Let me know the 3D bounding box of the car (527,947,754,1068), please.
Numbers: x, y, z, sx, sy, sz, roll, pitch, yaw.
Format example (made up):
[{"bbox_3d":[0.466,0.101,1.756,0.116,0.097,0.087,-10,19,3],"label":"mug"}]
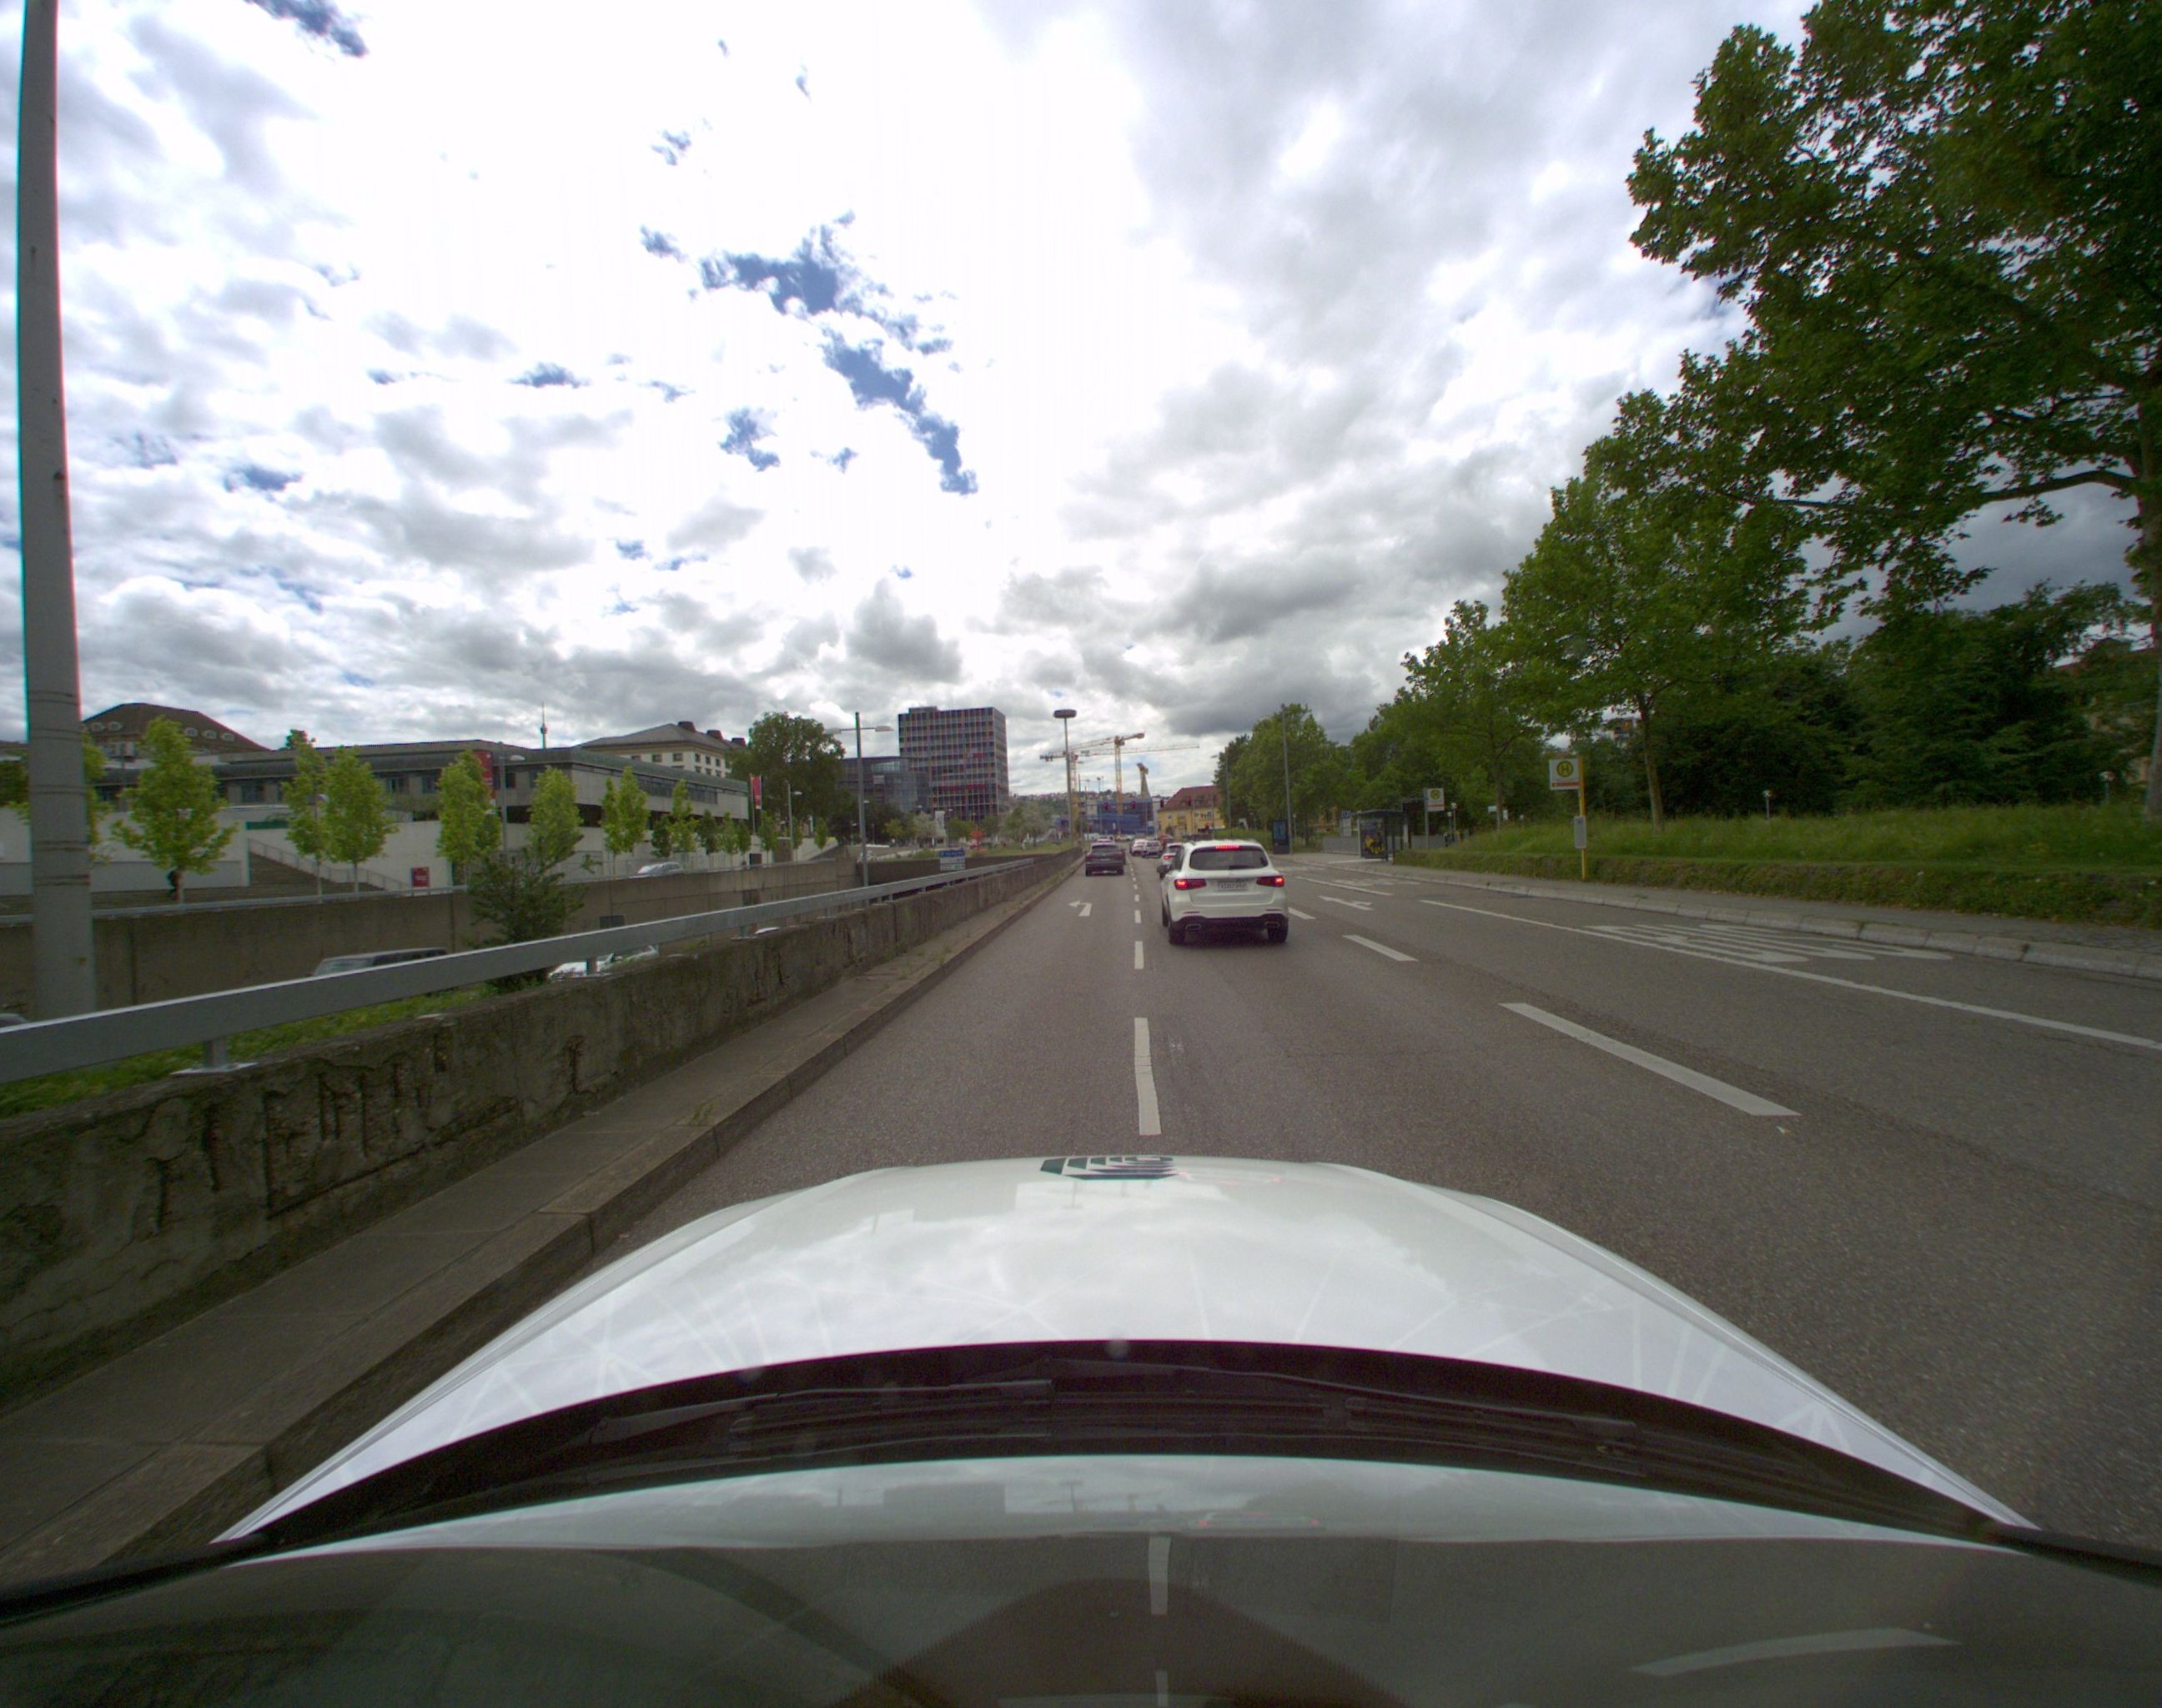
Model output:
[{"bbox_3d":[-8.828,3.019,16.926,1.987,1.482,4.810,-2,0,1],"label":"car"}]

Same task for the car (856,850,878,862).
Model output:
[{"bbox_3d":[-27.481,0.281,104.785,1.802,1.427,3.708,0,0,1],"label":"car"}]

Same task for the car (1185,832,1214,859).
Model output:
[{"bbox_3d":[9.097,-0.648,62.873,1.781,2.013,4.002,-2,0,2],"label":"car"}]

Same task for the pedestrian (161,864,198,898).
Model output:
[{"bbox_3d":[-45.034,1.356,40.710,0.639,1.640,1.003,2,-1,2],"label":"pedestrian"}]

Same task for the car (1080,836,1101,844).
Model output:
[{"bbox_3d":[2.578,-3.774,218.416,5.221,2.060,1.885,-1,-1,30],"label":"car"}]

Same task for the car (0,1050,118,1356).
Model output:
[{"bbox_3d":[-7.632,2.244,3.239,1.886,1.715,4.662,-1,1,3],"label":"car"}]

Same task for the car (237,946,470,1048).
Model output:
[{"bbox_3d":[-19.296,3.709,21.998,1.811,1.896,4.905,0,0,1],"label":"car"}]

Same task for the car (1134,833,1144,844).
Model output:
[{"bbox_3d":[11.469,-3.016,160.615,1.793,2.014,4.002,0,0,2],"label":"car"}]

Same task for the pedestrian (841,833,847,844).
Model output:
[{"bbox_3d":[-36.763,-2.409,126.434,0.686,1.729,0.645,-1,-1,37],"label":"pedestrian"}]

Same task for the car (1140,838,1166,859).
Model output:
[{"bbox_3d":[5.889,-0.401,67.019,1.986,1.662,4.002,0,0,2],"label":"car"}]

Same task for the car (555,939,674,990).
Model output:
[{"bbox_3d":[-15.588,3.659,27.474,1.691,1.273,3.822,0,-1,2],"label":"car"}]

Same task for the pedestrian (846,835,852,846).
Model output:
[{"bbox_3d":[-38.939,-2.256,136.831,0.686,1.729,0.645,-1,-1,26],"label":"pedestrian"}]

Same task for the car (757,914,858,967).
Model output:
[{"bbox_3d":[-9.906,3.107,29.959,1.804,1.460,4.867,-1,0,3],"label":"car"}]

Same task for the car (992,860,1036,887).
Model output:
[{"bbox_3d":[-3.444,0.980,42.559,1.711,1.292,4.004,0,0,4],"label":"car"}]

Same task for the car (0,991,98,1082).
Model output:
[{"bbox_3d":[-16.849,2.765,10.678,1.987,1.142,4.849,0,0,0],"label":"car"}]

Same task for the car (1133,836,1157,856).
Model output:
[{"bbox_3d":[5.820,-0.705,74.742,1.986,1.781,4.002,0,0,2],"label":"car"}]

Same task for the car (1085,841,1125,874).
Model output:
[{"bbox_3d":[1.255,0.140,42.361,1.915,1.601,4.002,-2,1,2],"label":"car"}]

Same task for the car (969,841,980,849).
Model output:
[{"bbox_3d":[-23.279,-2.026,178.419,1.860,1.618,3.483,0,0,2],"label":"car"}]

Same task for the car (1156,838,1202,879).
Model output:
[{"bbox_3d":[4.088,0.194,34.508,1.665,1.627,4.003,0,0,3],"label":"car"}]

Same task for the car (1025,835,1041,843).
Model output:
[{"bbox_3d":[-12.343,-3.747,209.759,3.994,2.014,1.990,0,-1,-15],"label":"car"}]

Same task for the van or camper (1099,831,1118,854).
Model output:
[{"bbox_3d":[2.971,-1.223,87.918,1.915,2.320,4.001,-2,-1,2],"label":"van or camper"}]

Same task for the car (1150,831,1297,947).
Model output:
[{"bbox_3d":[2.276,0.523,14.015,1.933,1.684,4.001,-1,0,2],"label":"car"}]

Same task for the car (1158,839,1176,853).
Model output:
[{"bbox_3d":[10.022,-0.908,95.380,1.713,1.584,4.001,0,0,1],"label":"car"}]
